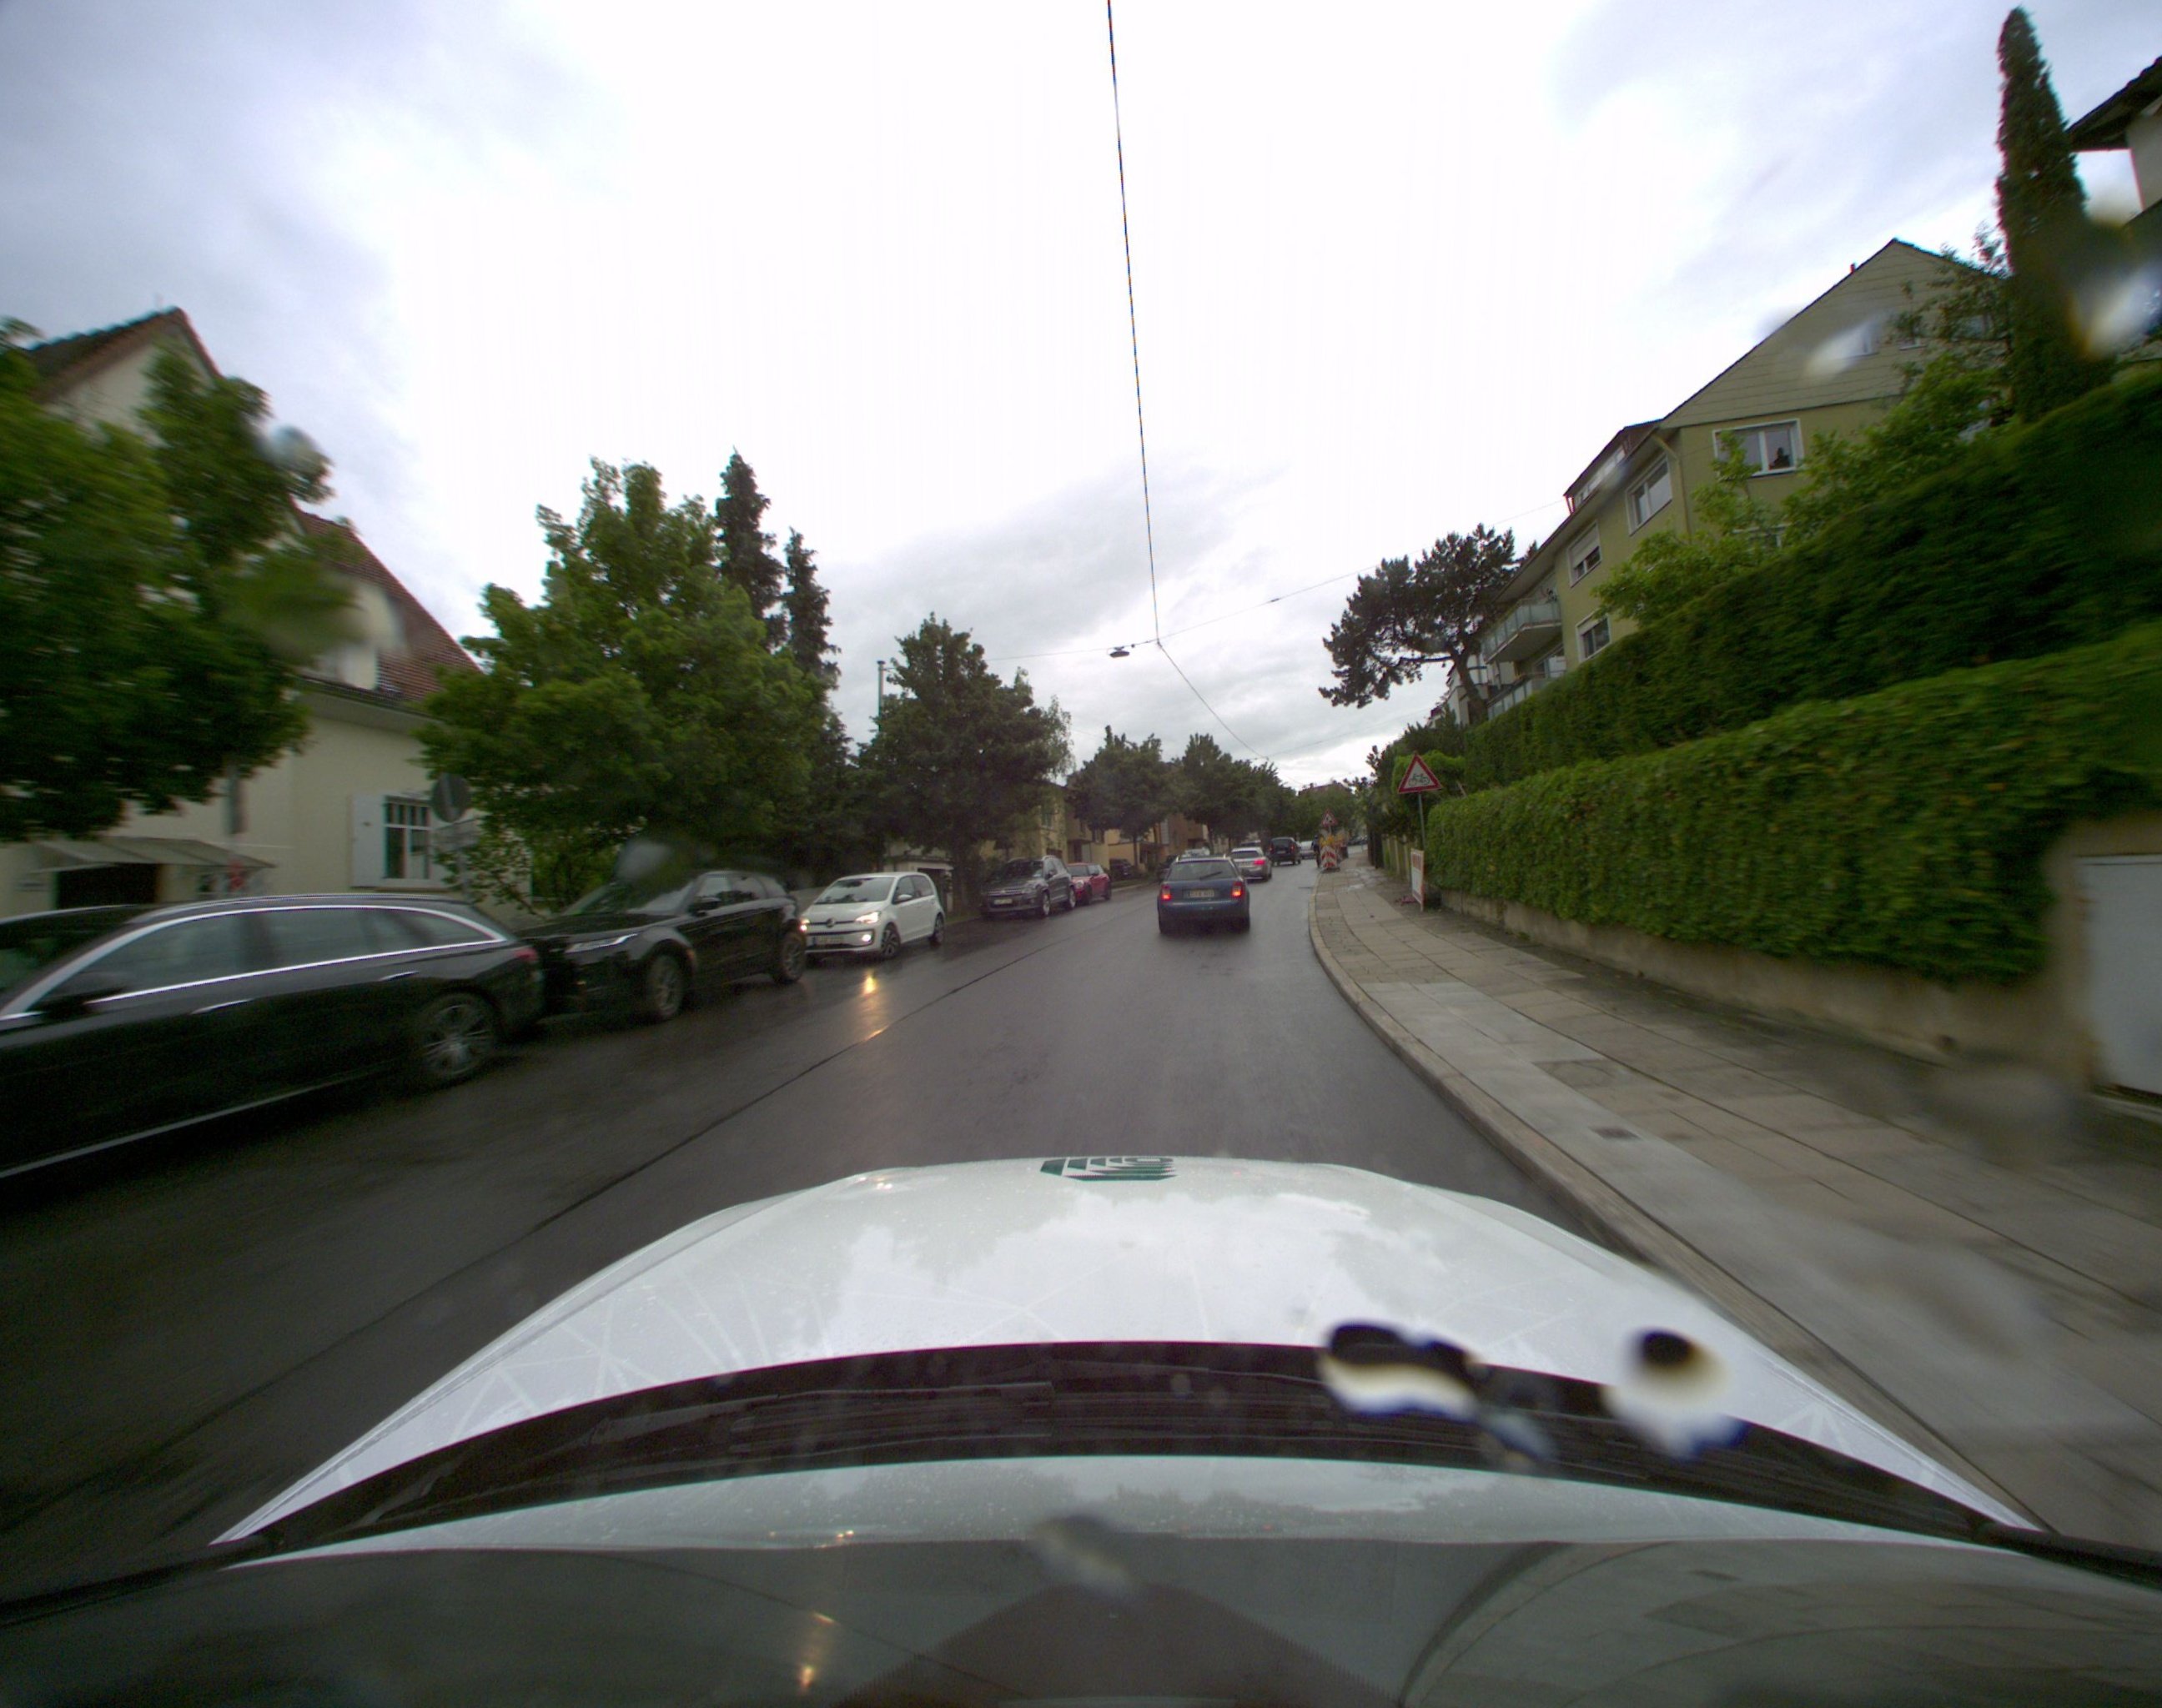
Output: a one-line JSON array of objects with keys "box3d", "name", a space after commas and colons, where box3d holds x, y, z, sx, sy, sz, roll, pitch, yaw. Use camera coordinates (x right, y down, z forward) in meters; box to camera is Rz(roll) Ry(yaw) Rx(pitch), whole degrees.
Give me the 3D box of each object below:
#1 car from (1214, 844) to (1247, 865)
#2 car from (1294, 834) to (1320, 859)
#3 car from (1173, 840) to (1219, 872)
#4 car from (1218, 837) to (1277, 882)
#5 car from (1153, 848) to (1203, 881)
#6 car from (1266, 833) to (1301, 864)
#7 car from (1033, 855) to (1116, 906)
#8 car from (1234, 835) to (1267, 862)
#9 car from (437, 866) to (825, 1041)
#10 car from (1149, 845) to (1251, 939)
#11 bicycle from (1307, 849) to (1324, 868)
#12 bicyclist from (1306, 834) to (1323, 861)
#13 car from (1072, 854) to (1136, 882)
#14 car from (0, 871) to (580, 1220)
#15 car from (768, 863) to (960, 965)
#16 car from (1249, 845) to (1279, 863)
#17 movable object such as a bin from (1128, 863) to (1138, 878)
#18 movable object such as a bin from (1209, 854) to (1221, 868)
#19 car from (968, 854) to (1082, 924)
[{"box3d": [12.342, -0.001, 67.023, 1.753, 1.436, 4.370, -6, -1, 20], "name": "car"}, {"box3d": [18.633, -0.639, 67.106, 1.719, 1.768, 4.257, -3, 2, 20], "name": "car"}, {"box3d": [7.263, 0.097, 51.206, 1.753, 1.634, 4.131, -9, -1, 21], "name": "car"}, {"box3d": [7.295, 0.179, 35.354, 1.959, 1.635, 4.255, -3, 2, 18], "name": "car"}, {"box3d": [5.519, 0.546, 45.924, 1.754, 1.535, 4.627, -7, -1, 18], "name": "car"}, {"box3d": [13.577, -0.397, 54.444, 1.719, 1.768, 4.257, -3, 2, 20], "name": "car"}, {"box3d": [-0.150, 0.873, 28.283, 1.669, 1.471, 3.882, -5, -1, 17], "name": "car"}, {"box3d": [14.973, -0.518, 71.831, 1.776, 2.049, 4.808, -8, -1, 21], "name": "car"}, {"box3d": [-4.903, 0.971, 9.710, 1.723, 1.545, 4.221, -3, -1, 10], "name": "car"}, {"box3d": [2.525, 0.668, 16.525, 1.722, 1.466, 4.014, -3, 2, 12], "name": "car"}, {"box3d": [13.390, 0.250, 46.569, 0.723, 0.964, 1.680, -4, 0, 21], "name": "bicycle"}, {"box3d": [13.357, -0.394, 46.599, 0.719, 1.472, 0.891, -4, 0, 21], "name": "bicyclist"}, {"box3d": [1.650, 1.024, 57.898, 4.019, 1.646, 1.873, -5, -1, 20], "name": "car"}, {"box3d": [-5.739, 0.955, 4.903, 1.856, 1.545, 4.916, -3, -1, 8], "name": "car"}, {"box3d": [-3.733, 0.981, 14.800, 1.722, 1.466, 4.012, -3, 0, 11], "name": "car"}, {"box3d": [17.486, -0.021, 77.665, 1.752, 1.387, 4.661, -7, 0, 24], "name": "car"}, {"box3d": [3.819, 1.186, 59.729, 0.582, 1.023, 0.589, -4, 0, 18], "name": "movable object such as a bin"}, {"box3d": [10.663, 0.521, 64.779, 0.677, 1.011, 0.711, -9, -2, 15], "name": "movable object such as a bin"}, {"box3d": [-1.476, 0.917, 23.470, 1.787, 1.669, 4.444, -5, -1, 15], "name": "car"}]
